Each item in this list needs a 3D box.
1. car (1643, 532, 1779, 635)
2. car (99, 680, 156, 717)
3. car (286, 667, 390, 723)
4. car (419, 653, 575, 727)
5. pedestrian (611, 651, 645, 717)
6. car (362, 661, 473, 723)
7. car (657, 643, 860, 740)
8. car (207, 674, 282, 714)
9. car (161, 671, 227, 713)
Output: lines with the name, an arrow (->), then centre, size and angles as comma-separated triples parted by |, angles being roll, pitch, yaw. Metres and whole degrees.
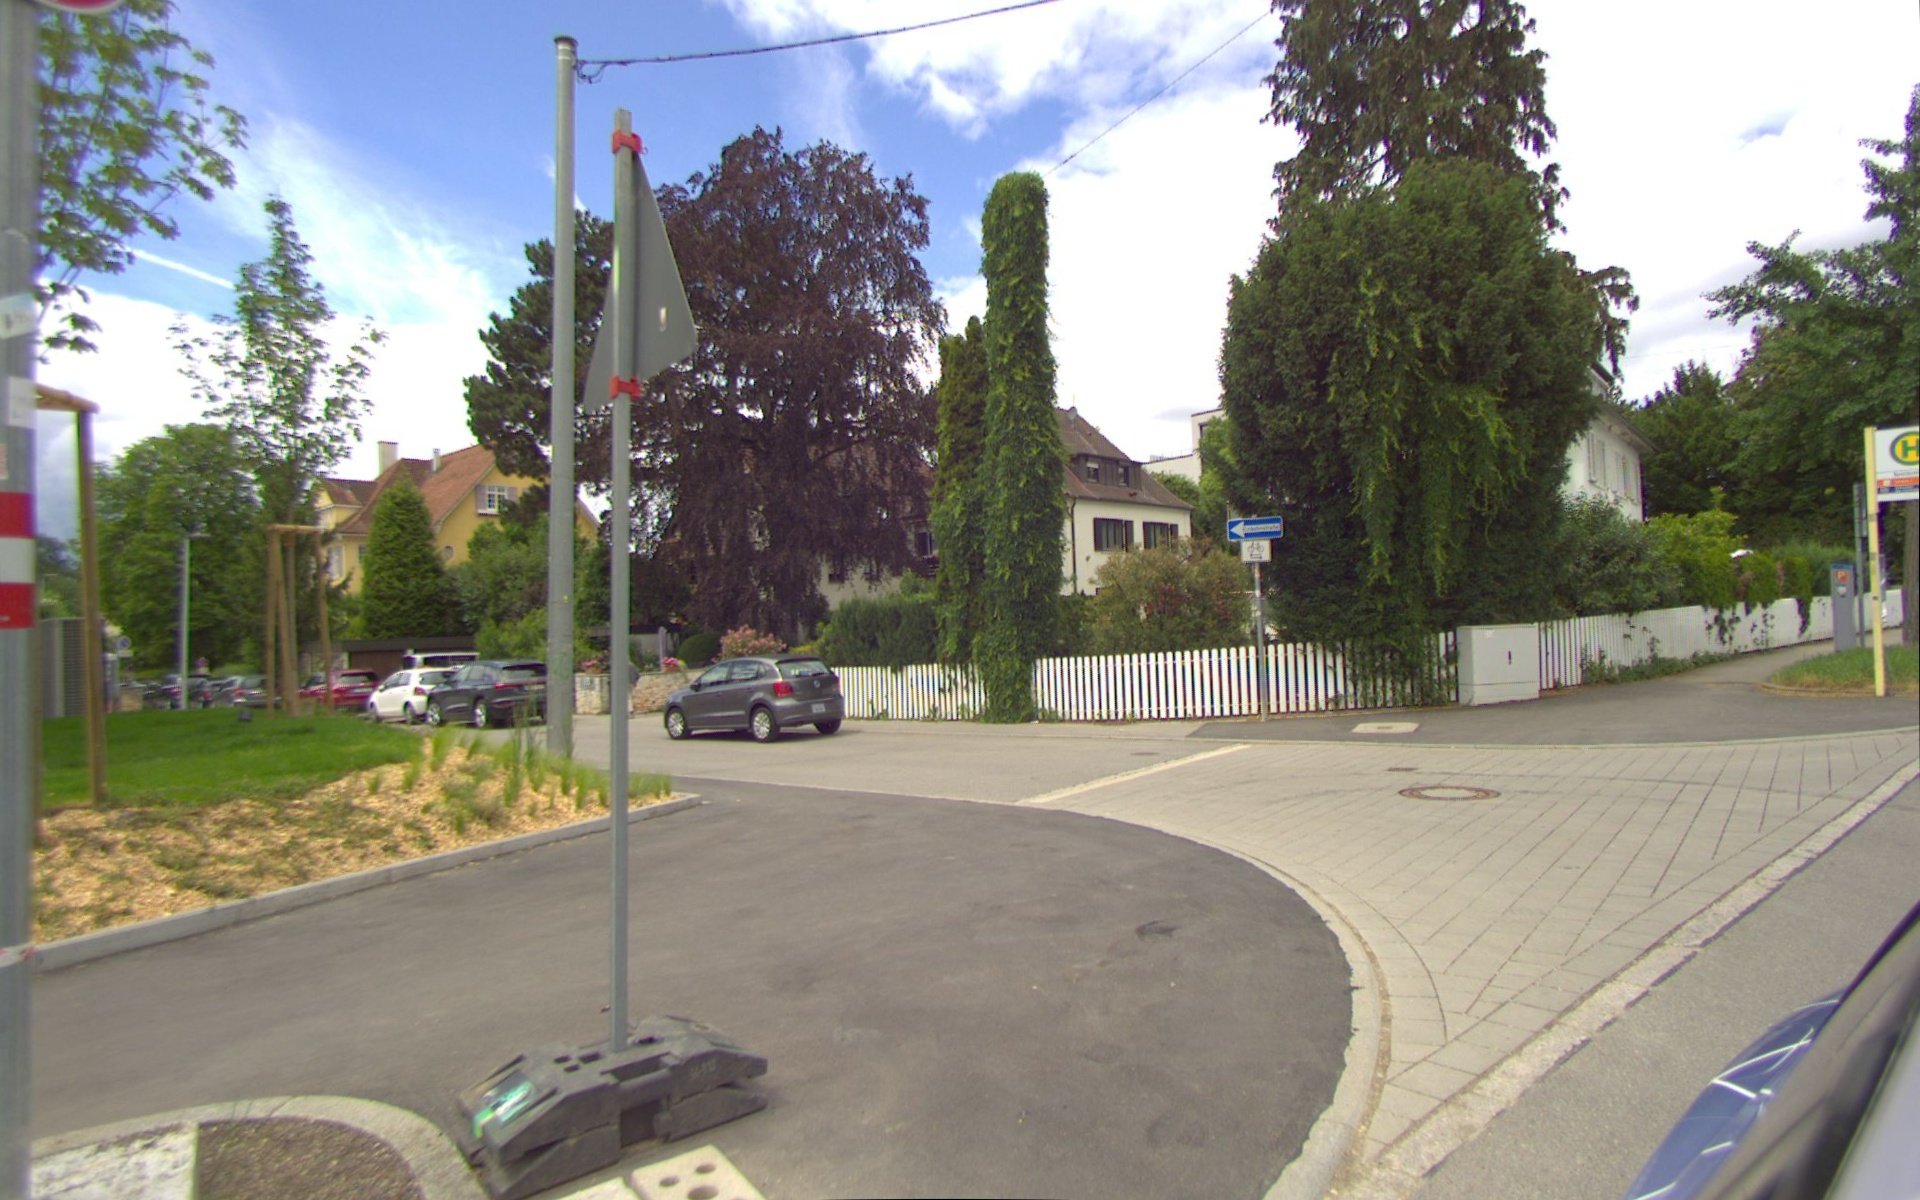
car -> 22.715, -0.491, 30.513 | 2.496, 2.716, 5.105 | -6, -3, 44
car -> -42.912, 5.084, 52.128 | 3.441, 1.731, 1.639 | -5, -2, 39
car -> -19.864, 3.015, 32.245 | 3.874, 1.564, 1.639 | -5, -2, 40
car -> -11.824, 2.290, 25.724 | 4.322, 1.628, 1.861 | -5, -2, 40
pedestrian -> -8.173, 2.056, 24.912 | 0.566, 1.567, 0.544 | -2, -3, -38
car -> -15.638, 2.655, 29.123 | 3.328, 1.564, 1.639 | -5, -2, 39
car -> -3.658, 1.623, 18.128 | 3.515, 1.477, 1.690 | -5, -2, 39
car -> -29.156, 3.830, 41.209 | 3.441, 1.469, 1.639 | -5, -2, 39
car -> -34.886, 4.196, 46.084 | 3.441, 1.731, 1.639 | -5, -2, 39
